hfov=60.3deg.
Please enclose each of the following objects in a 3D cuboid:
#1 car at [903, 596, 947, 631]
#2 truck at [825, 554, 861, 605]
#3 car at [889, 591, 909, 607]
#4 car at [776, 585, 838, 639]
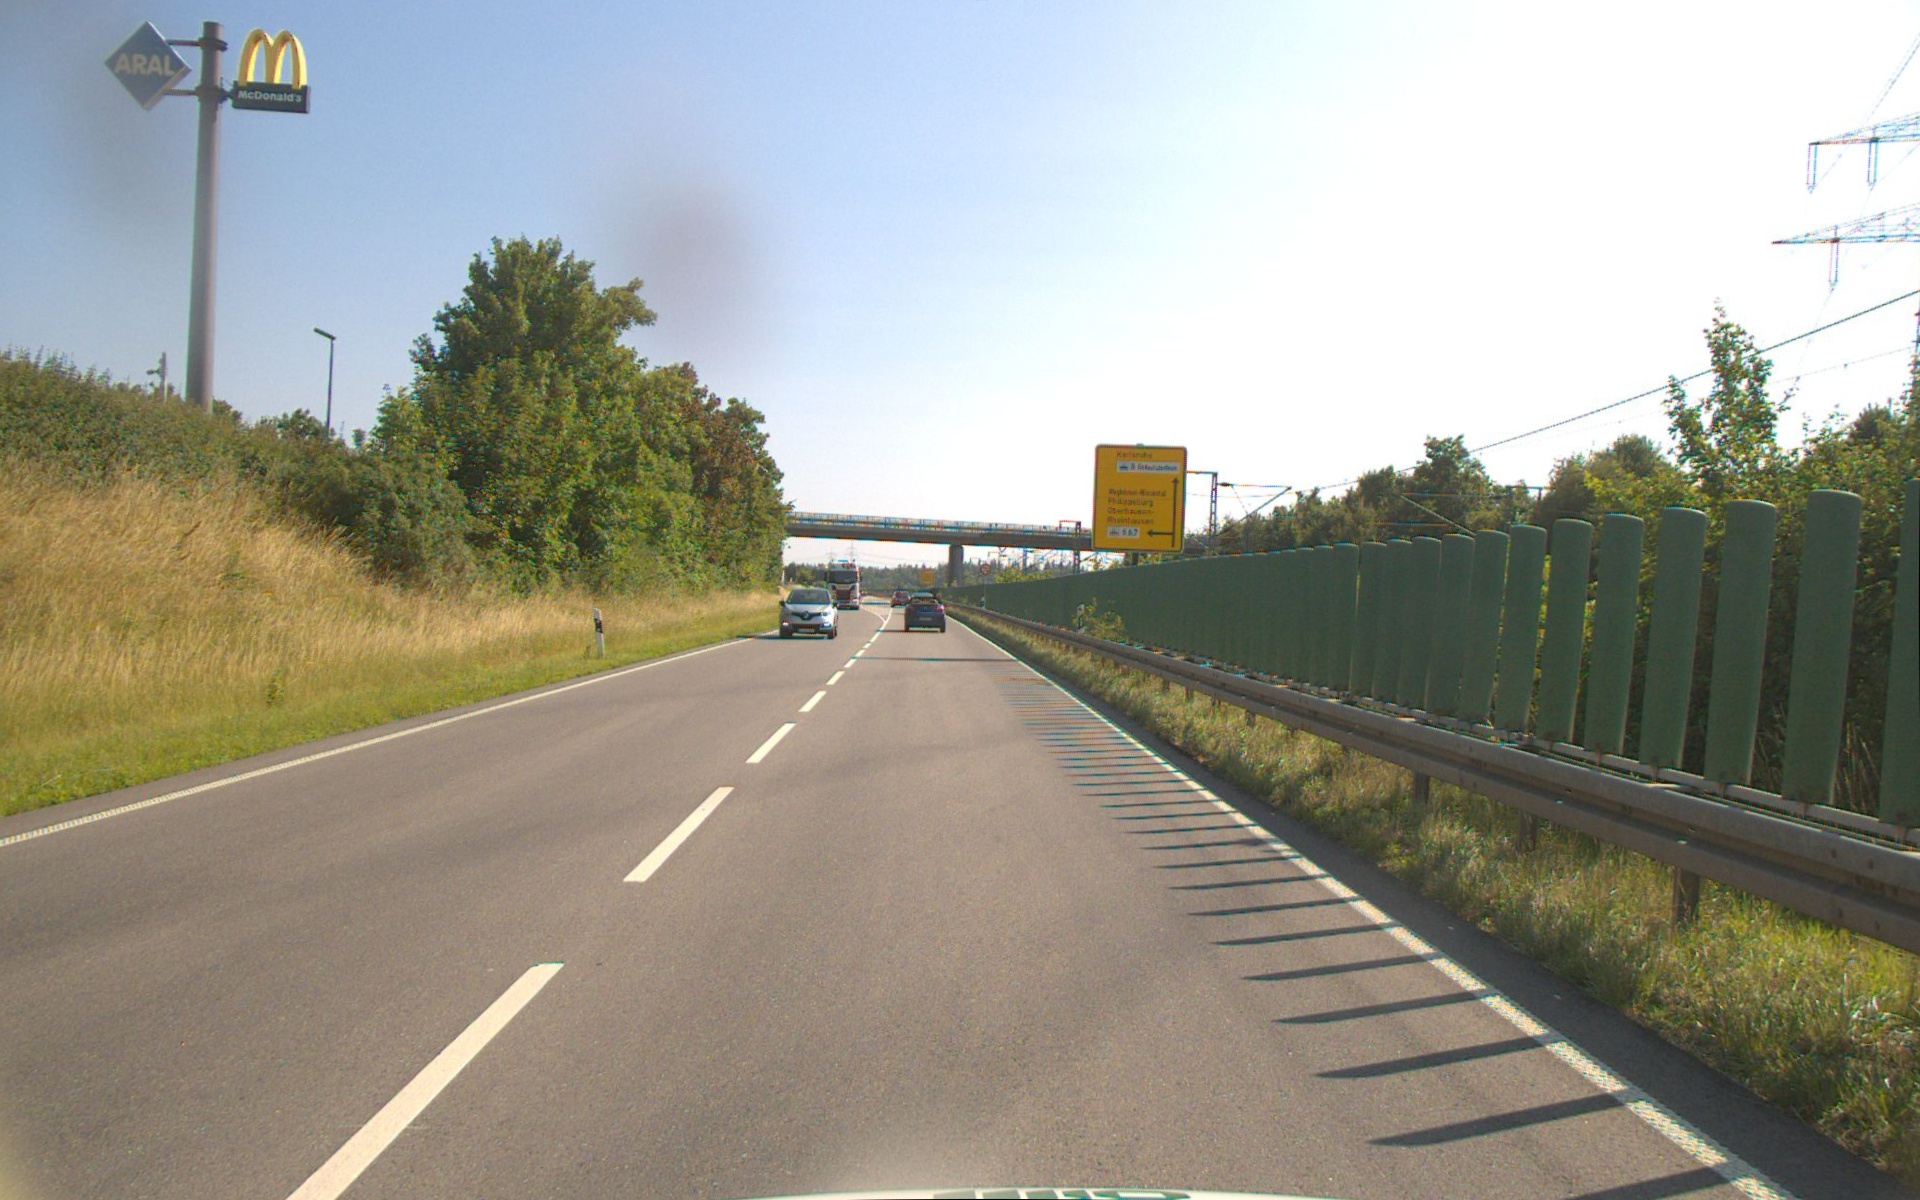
[{"bbox_3d":[-1.410,0.506,64.894,1.630,1.283,3.998,1,0,-3],"label":"car"},{"bbox_3d":[-9.203,-1.584,130.758,2.508,3.753,10.482,1,0,-2],"label":"truck"},{"bbox_3d":[-5.620,-0.089,151.898,1.857,1.443,3.998,1,0,-3],"label":"car"},{"bbox_3d":[-4.877,0.385,53.169,1.760,1.621,3.998,1,0,-2],"label":"car"}]
